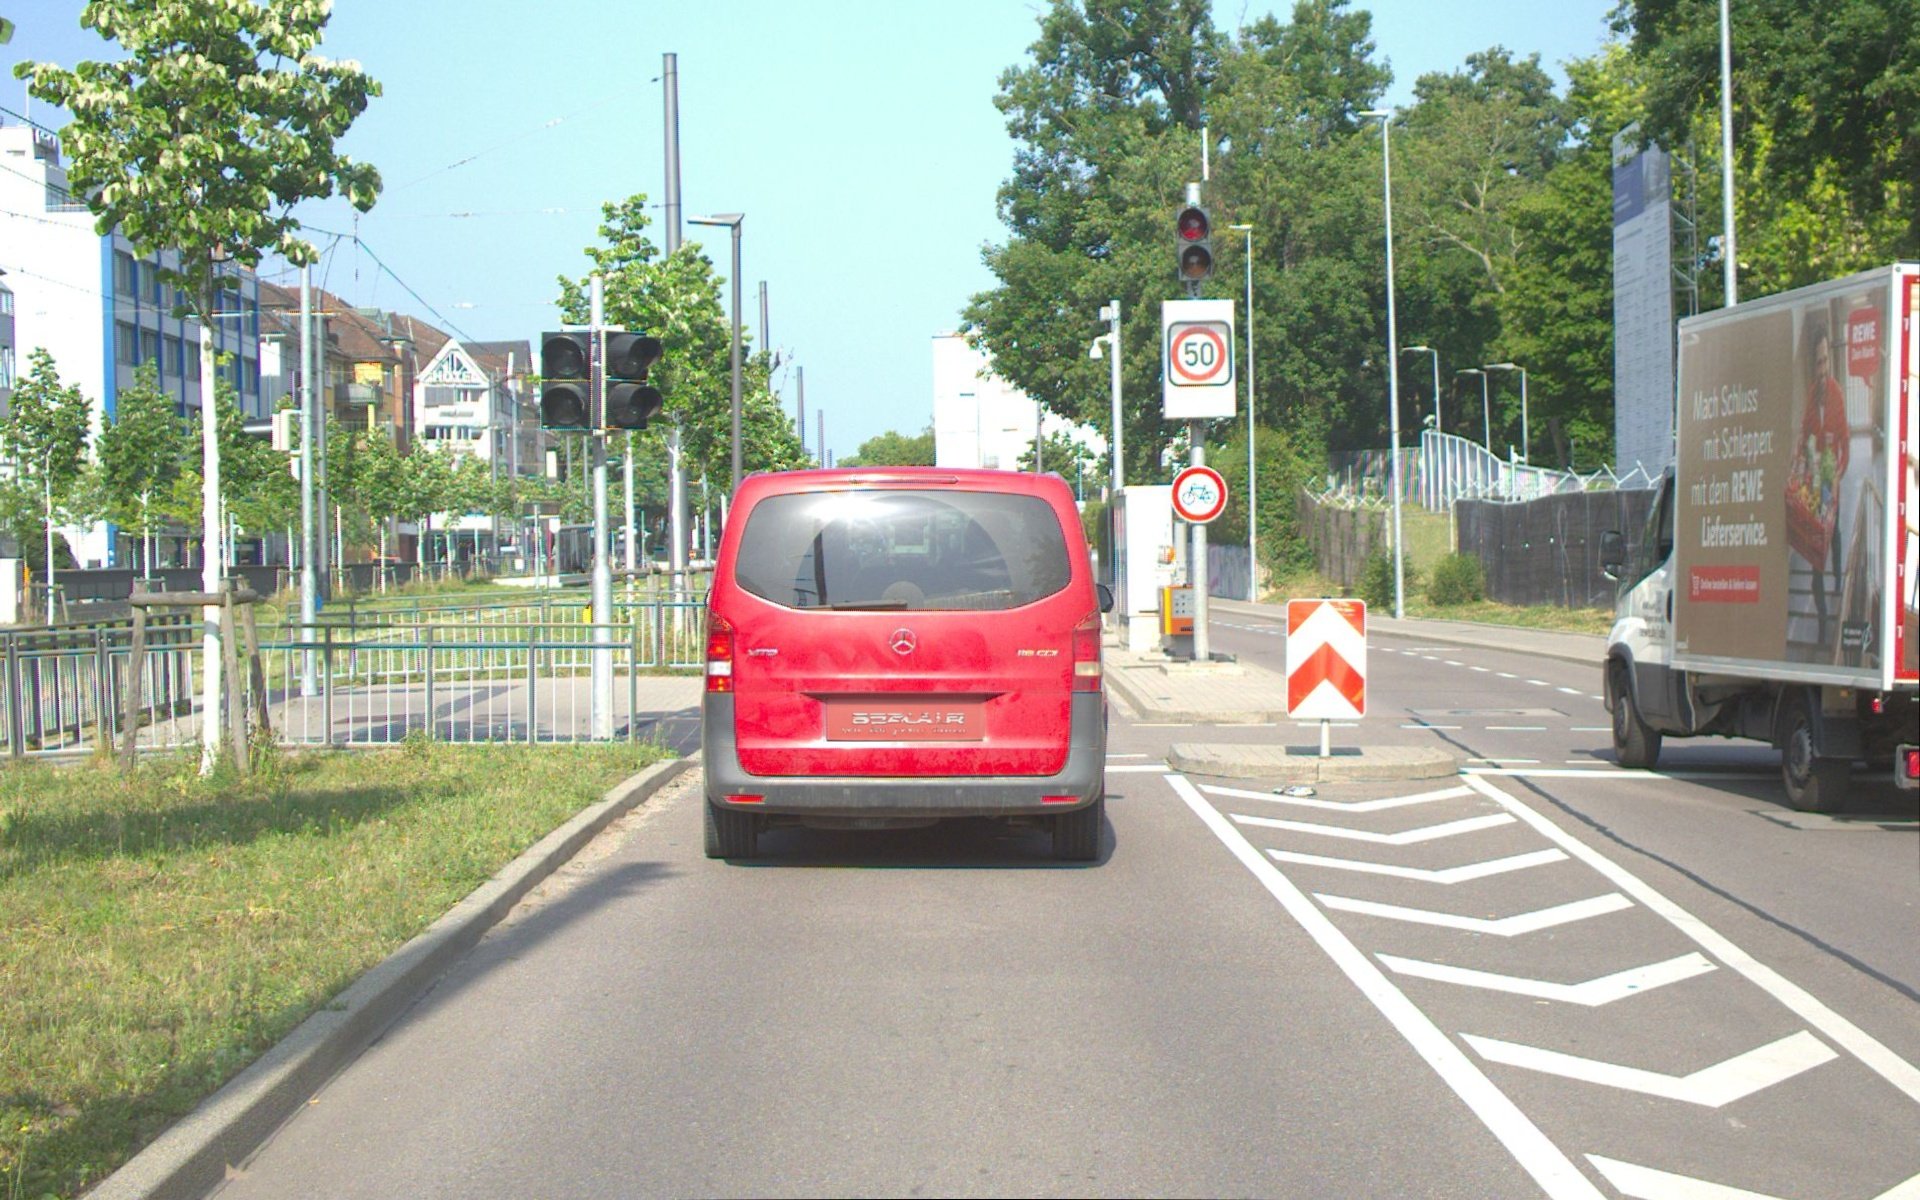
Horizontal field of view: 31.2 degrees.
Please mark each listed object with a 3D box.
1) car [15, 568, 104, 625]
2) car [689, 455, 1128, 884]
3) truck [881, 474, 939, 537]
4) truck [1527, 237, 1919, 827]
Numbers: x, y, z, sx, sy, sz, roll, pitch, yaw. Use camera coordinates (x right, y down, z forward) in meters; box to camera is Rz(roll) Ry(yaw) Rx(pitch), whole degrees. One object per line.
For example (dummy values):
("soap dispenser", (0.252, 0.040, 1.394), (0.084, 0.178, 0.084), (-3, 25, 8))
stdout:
("car", (-29.826, -0.130, 113.951), (1.917, 1.806, 4.000), (1, 0, -1))
("car", (-0.228, 0.275, 17.110), (1.901, 1.853, 4.000), (1, 1, 0))
("truck", (-3.123, -5.761, 211.629), (3.390, 3.713, 10.452), (-1, 1, -2))
("truck", (5.743, -0.361, 21.756), (2.502, 3.050, 7.821), (1, 0, -4))
